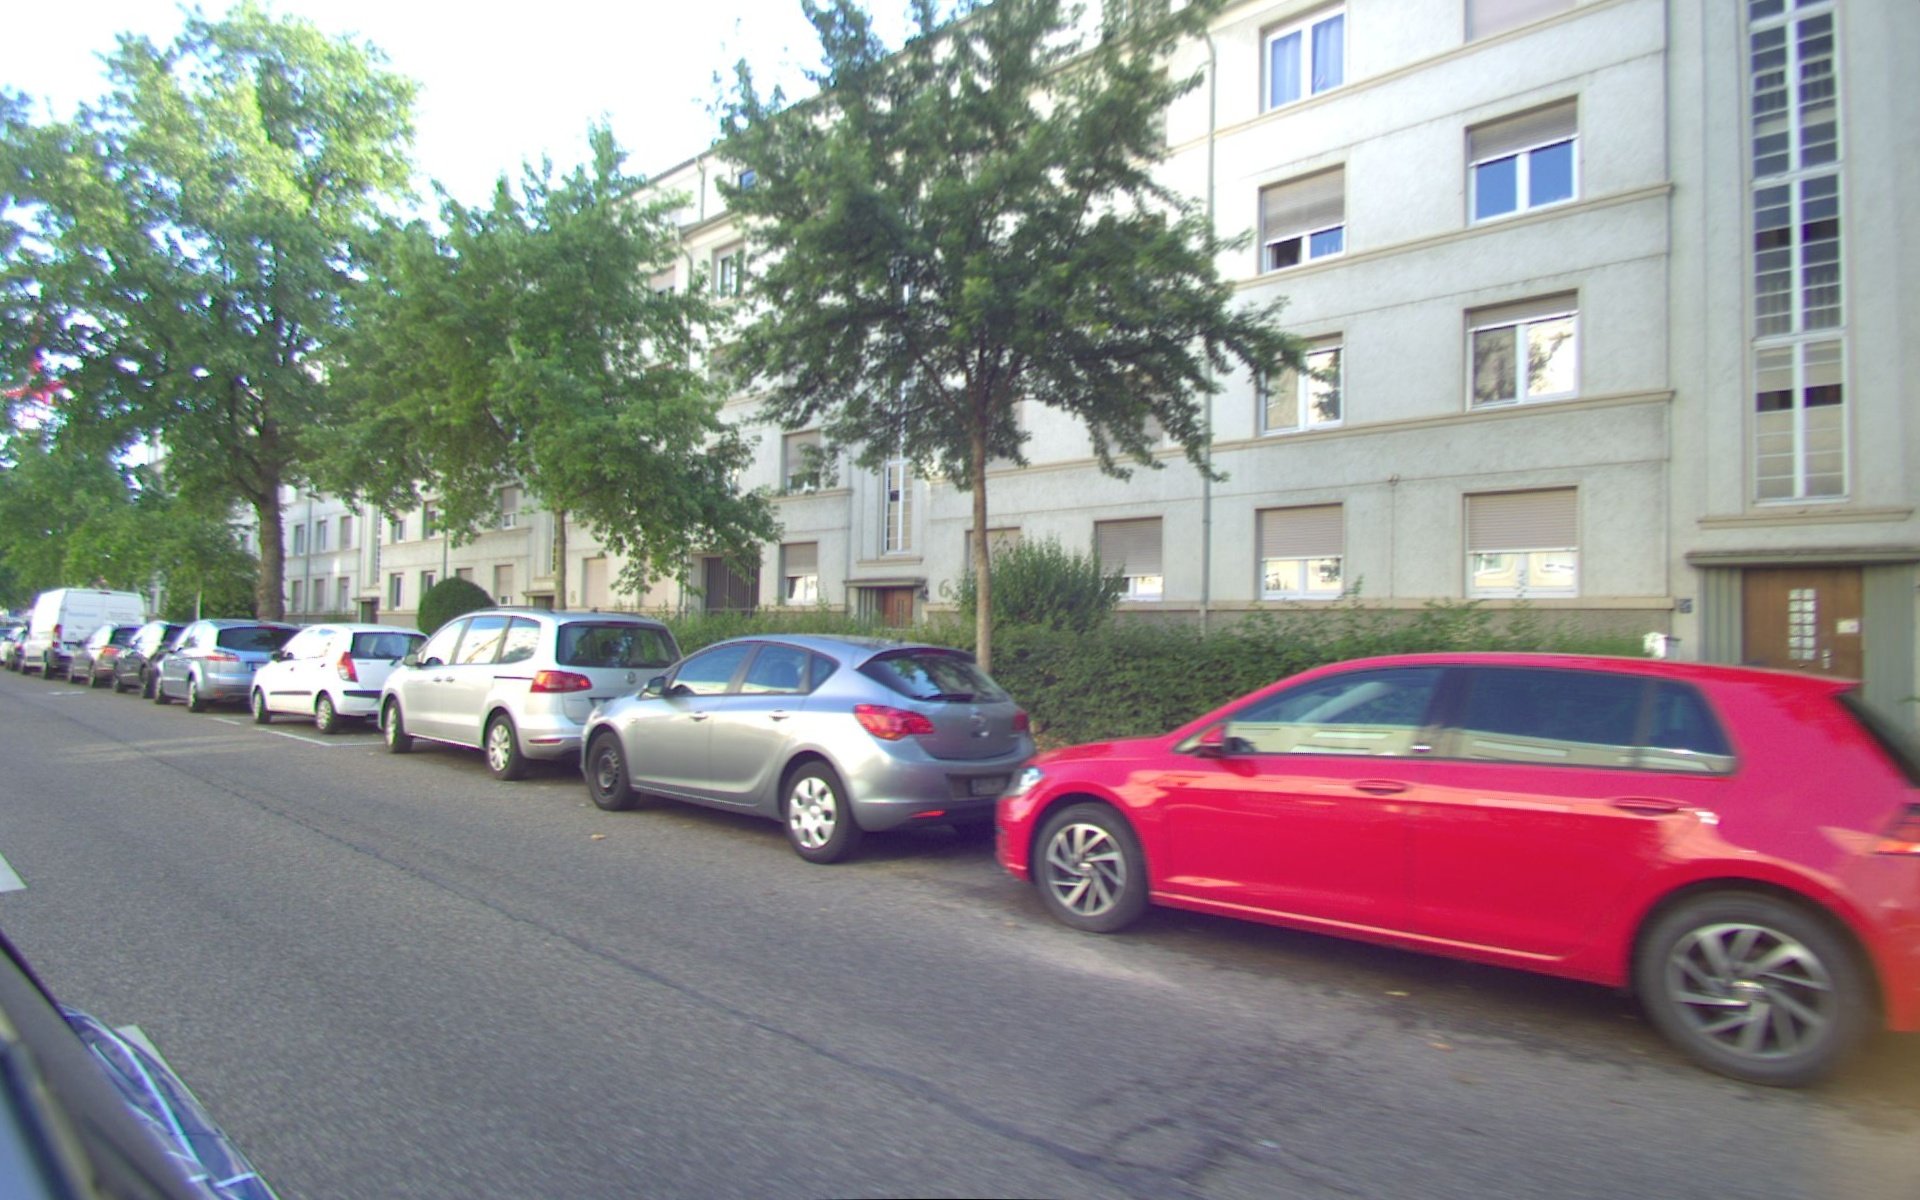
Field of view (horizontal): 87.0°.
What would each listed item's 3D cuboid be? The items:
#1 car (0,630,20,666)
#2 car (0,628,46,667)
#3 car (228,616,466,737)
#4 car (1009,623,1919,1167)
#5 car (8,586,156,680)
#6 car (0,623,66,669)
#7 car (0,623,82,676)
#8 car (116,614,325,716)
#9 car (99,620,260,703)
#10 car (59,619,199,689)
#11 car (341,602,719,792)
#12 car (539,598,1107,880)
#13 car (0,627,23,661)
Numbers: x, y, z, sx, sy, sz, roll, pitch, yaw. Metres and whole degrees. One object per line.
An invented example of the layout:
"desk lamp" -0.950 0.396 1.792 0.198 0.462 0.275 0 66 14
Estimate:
"car" -45.180 2.158 46.740 3.994 1.564 1.855 0 -5 38
"car" -38.742 1.898 40.969 4.649 1.365 1.855 0 2 39
"car" -9.314 1.063 15.253 4.098 1.570 1.851 -1 -3 41
"car" 2.374 0.938 4.709 3.998 1.570 1.851 0 -2 41
"car" -25.845 0.942 29.695 6.162 2.464 2.333 0 -3 41
"car" -34.924 1.700 37.845 3.259 1.586 1.690 0 -3 40
"car" -30.570 1.596 33.439 3.816 1.586 1.690 0 -2 40
"car" -13.637 1.171 18.539 5.053 1.570 1.851 -2 -8 41
"car" -17.191 1.321 22.224 4.363 1.570 1.851 0 -6 41
"car" -21.152 1.338 25.701 4.343 1.570 1.937 0 -4 41
"car" -4.995 0.894 11.363 4.971 1.690 1.896 0 -2 41
"car" -1.270 0.858 7.841 4.494 1.570 1.851 -2 -3 41
"car" -42.982 1.937 44.652 3.996 1.366 1.855 0 -1 39
